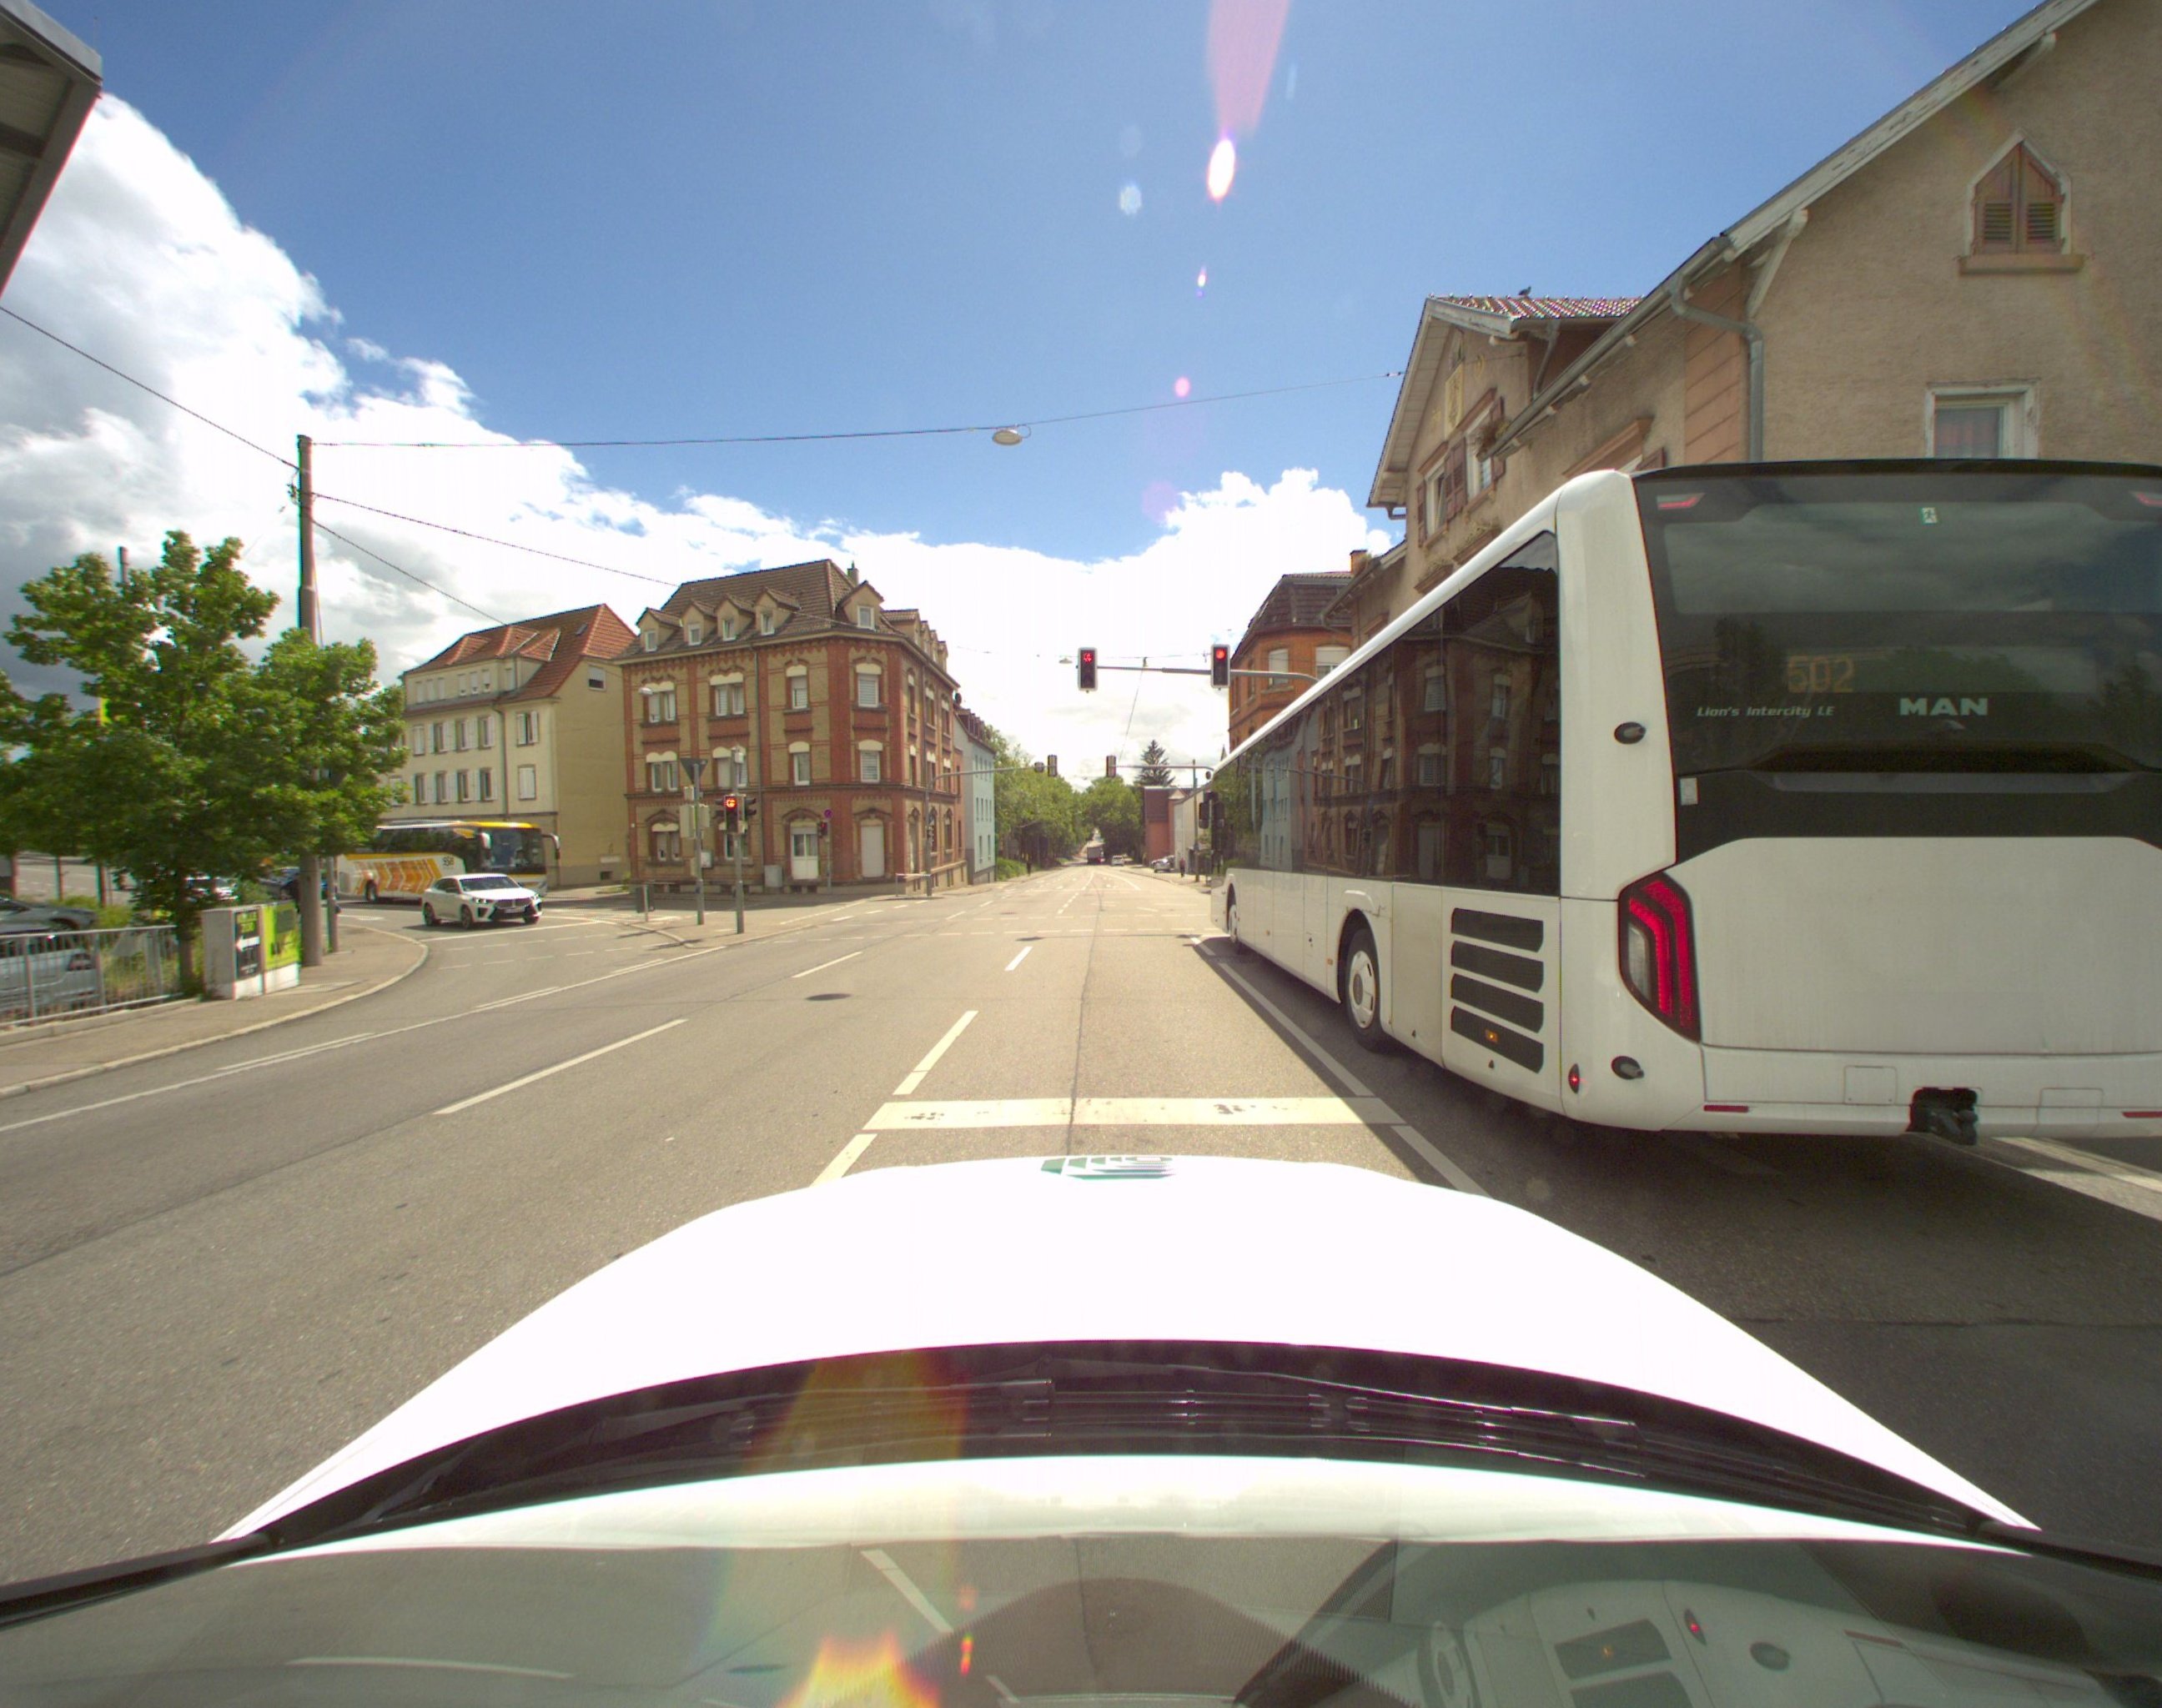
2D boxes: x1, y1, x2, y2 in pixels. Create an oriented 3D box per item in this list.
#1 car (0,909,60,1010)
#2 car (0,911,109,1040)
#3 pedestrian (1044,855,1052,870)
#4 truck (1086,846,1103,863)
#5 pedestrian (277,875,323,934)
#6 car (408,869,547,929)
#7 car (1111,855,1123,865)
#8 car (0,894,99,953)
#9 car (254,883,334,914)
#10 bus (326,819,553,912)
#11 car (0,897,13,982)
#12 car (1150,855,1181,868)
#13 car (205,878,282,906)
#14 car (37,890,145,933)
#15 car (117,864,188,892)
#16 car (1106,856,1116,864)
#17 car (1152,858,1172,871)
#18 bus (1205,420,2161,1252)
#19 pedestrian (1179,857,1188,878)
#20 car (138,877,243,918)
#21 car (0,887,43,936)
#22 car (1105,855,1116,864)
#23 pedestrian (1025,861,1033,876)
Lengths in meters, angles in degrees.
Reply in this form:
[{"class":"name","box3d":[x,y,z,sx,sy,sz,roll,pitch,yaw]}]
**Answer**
[{"class":"car","box3d":[-19.508,1.833,14.137,3.455,1.526,1.626,-1,2,29]},{"class":"car","box3d":[-16.049,1.754,12.033,3.321,1.560,1.692,0,2,32]},{"class":"pedestrian","box3d":[-4.616,1.171,115.091,0.991,2.013,1.189,-2,0,1]},{"class":"truck","box3d":[2.552,0.069,156.469,2.917,3.081,7.883,-2,0,0]},{"class":"pedestrian","box3d":[-23.661,1.514,24.673,1.129,1.734,0.764,-2,-1,34]},{"class":"car","box3d":[-18.564,1.393,25.024,4.250,1.551,1.846,-3,1,31]},{"class":"car","box3d":[5.756,0.953,129.576,1.787,1.409,4.001,-1,0,2]},{"class":"car","box3d":[-29.590,1.918,22.099,1.777,1.477,3.522,-2,0,32]},{"class":"car","box3d":[-39.665,2.236,41.050,3.949,1.409,1.762,-2,0,28]},{"class":"bus","box3d":[-28.183,0.411,35.518,12.111,3.621,2.788,0,0,26]},{"class":"car","box3d":[-23.368,1.753,16.449,3.455,1.680,1.663,-1,2,30]},{"class":"car","box3d":[11.774,1.046,113.078,3.978,1.757,1.998,-2,0,-3]},{"class":"car","box3d":[-45.765,2.089,44.504,3.949,1.409,1.923,-2,0,29]},{"class":"car","box3d":[-37.297,2.139,30.686,3.456,1.448,1.811,-2,0,26]},{"class":"car","box3d":[-53.704,1.390,47.090,3.949,1.554,1.923,-2,0,29]},{"class":"car","box3d":[5.747,1.128,154.019,1.787,1.409,4.421,-1,0,3]},{"class":"car","box3d":[9.226,1.176,93.023,1.788,1.409,4.000,-2,0,1]},{"class":"bus","box3d":[3.499,-0.075,9.328,2.662,3.155,12.467,0,0,2]},{"class":"pedestrian","box3d":[8.957,1.189,71.179,0.736,1.750,0.619,-2,0,1]},{"class":"car","box3d":[-38.150,1.870,34.893,3.951,1.596,1.869,-2,0,25]},{"class":"car","box3d":[-36.335,1.914,25.741,1.785,1.554,4.023,-2,0,25]},{"class":"car","box3d":[5.290,0.991,145.920,1.787,1.409,4.421,-1,0,3]},{"class":"pedestrian","box3d":[-5.489,1.555,86.345,0.727,1.565,0.561,-1,-1,0]}]
